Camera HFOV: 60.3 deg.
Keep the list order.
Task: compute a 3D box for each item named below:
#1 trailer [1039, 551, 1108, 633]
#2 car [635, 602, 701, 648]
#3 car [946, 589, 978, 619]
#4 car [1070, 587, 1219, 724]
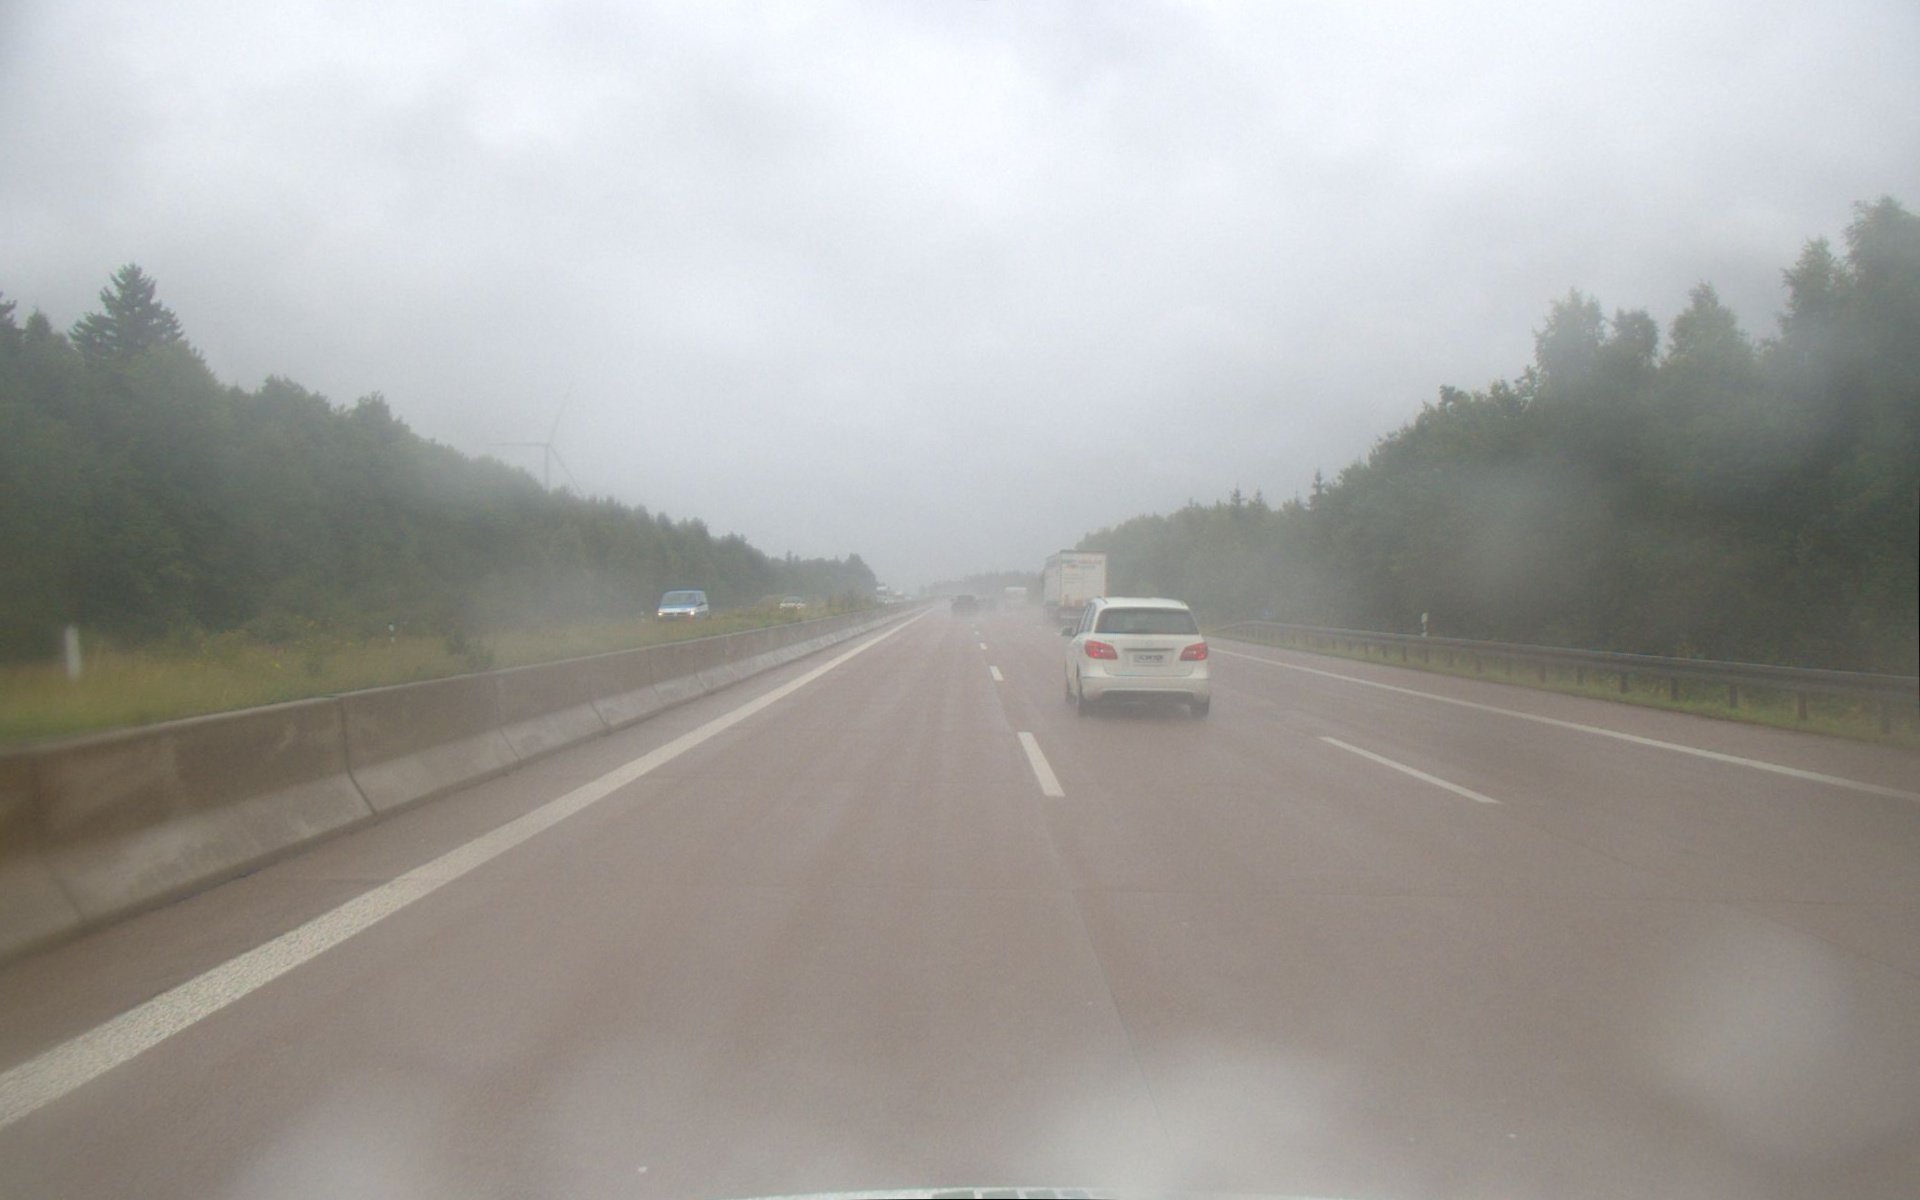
[{"bbox_3d":[6.401,-0.491,95.489,2.794,4.305,13.129,-1,0,-1],"label":"trailer"},{"bbox_3d":[-13.749,1.133,78.171,2.260,2.049,5.661,1,0,-2],"label":"car"},{"bbox_3d":[0.137,0.288,113.864,2.129,2.016,4.130,1,0,0],"label":"car"},{"bbox_3d":[2.573,0.725,23.995,1.771,1.758,4.745,1,0,2],"label":"car"}]
